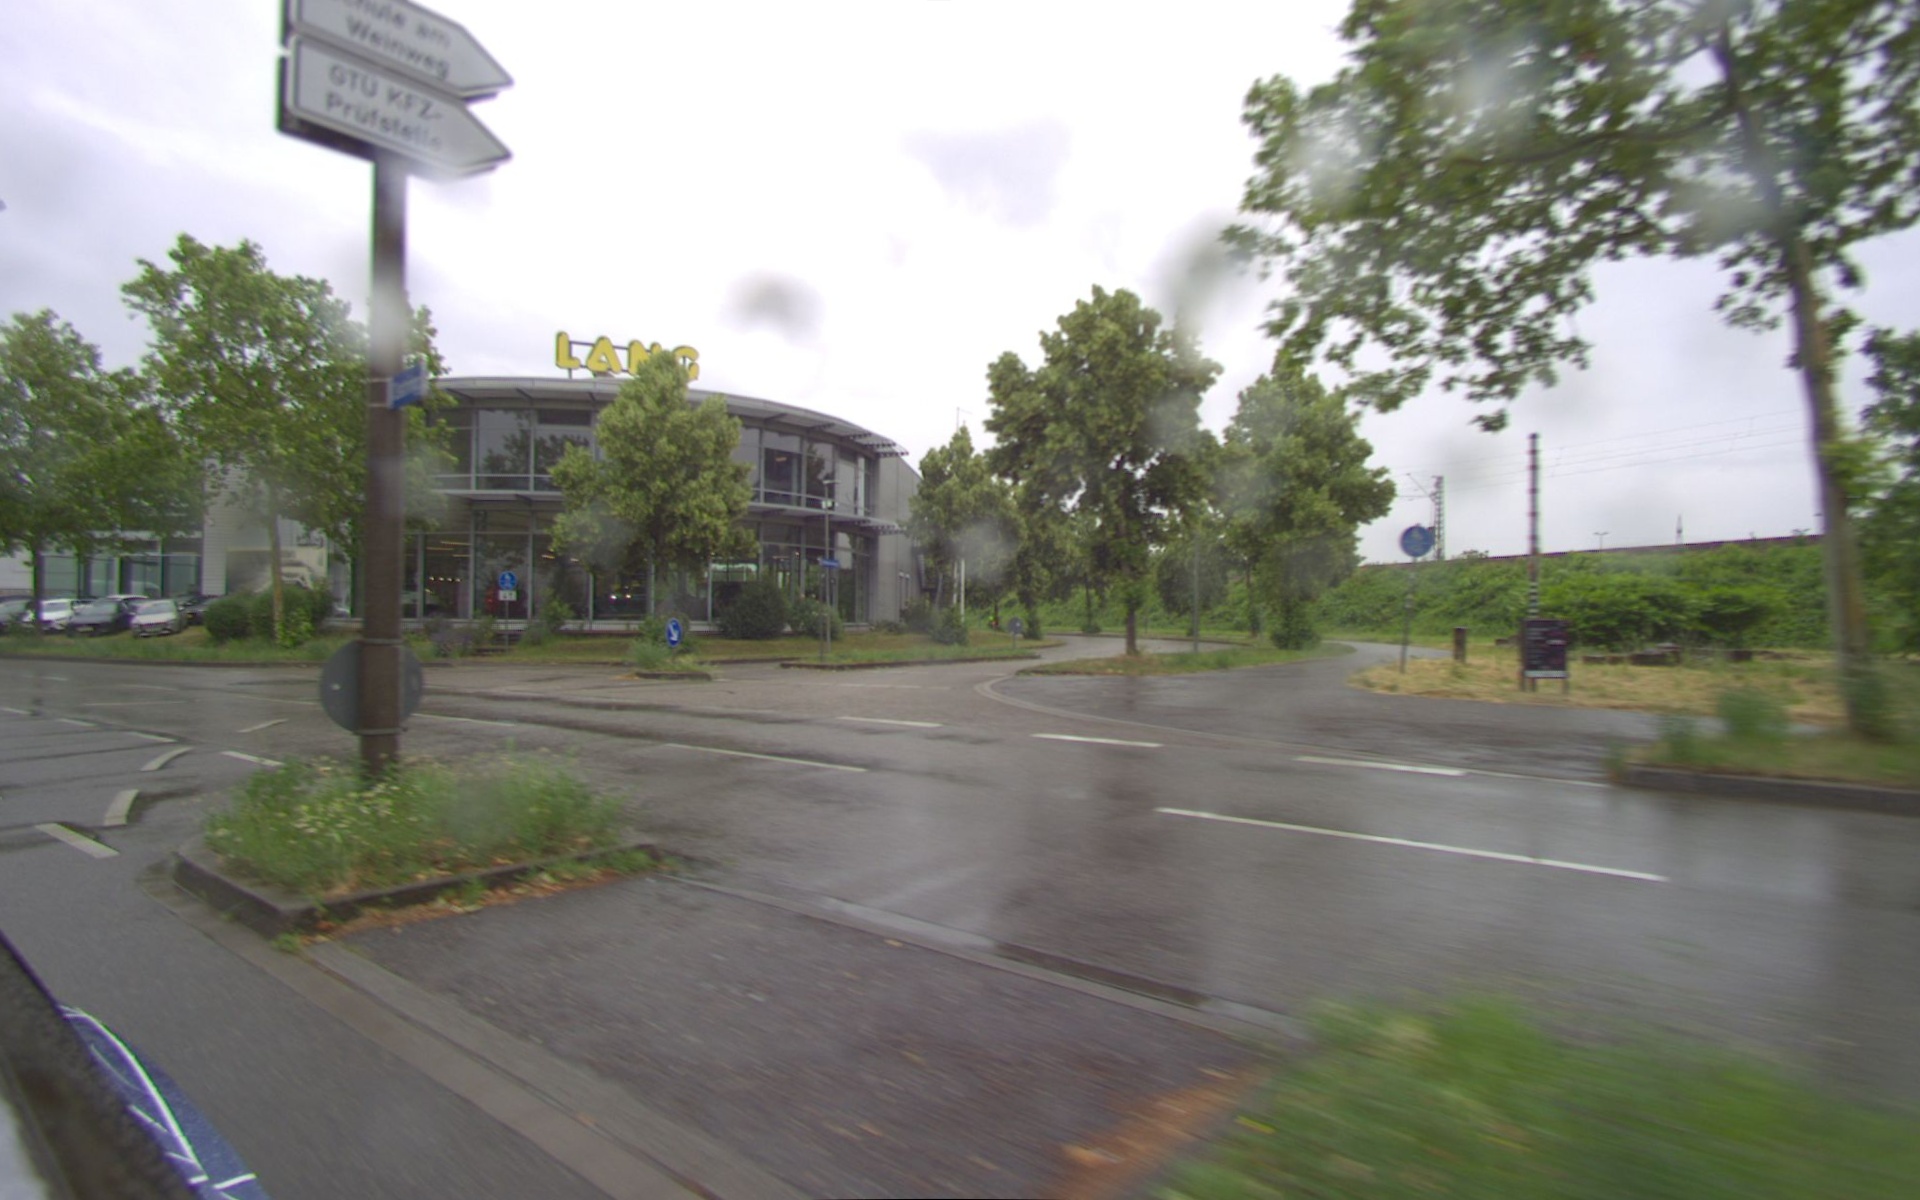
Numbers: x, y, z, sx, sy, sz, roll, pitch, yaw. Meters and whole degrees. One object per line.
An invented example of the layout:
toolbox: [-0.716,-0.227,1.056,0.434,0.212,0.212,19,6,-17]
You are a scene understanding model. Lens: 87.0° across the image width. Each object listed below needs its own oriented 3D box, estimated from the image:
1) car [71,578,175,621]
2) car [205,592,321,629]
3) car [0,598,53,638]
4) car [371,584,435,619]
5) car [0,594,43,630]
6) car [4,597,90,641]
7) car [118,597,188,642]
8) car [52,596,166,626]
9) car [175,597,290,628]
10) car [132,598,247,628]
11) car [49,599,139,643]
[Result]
car: [-56.404,-0.049,68.364,5.251,2.773,2.176,-1,1,-36]
car: [-34.512,0.511,50.219,1.917,1.751,4.379,0,0,38]
car: [-46.184,0.916,48.926,1.816,1.489,4.144,-5,7,-18]
car: [-24.622,0.086,44.686,1.756,1.487,4.119,0,-1,-40]
car: [-49.534,0.754,51.288,4.372,1.567,1.849,-9,9,-43]
car: [-43.361,0.860,48.170,1.816,1.489,4.145,-6,7,-26]
car: [-35.655,0.816,44.800,1.755,1.486,4.013,-7,7,-31]
car: [-44.873,0.562,53.491,1.899,1.485,4.422,0,0,10]
car: [-36.692,0.603,51.143,1.917,1.485,4.379,0,0,38]
car: [-39.356,0.647,51.799,1.917,1.485,4.379,0,0,38]
car: [-39.492,0.923,46.267,1.816,1.432,4.145,-6,7,-22]
